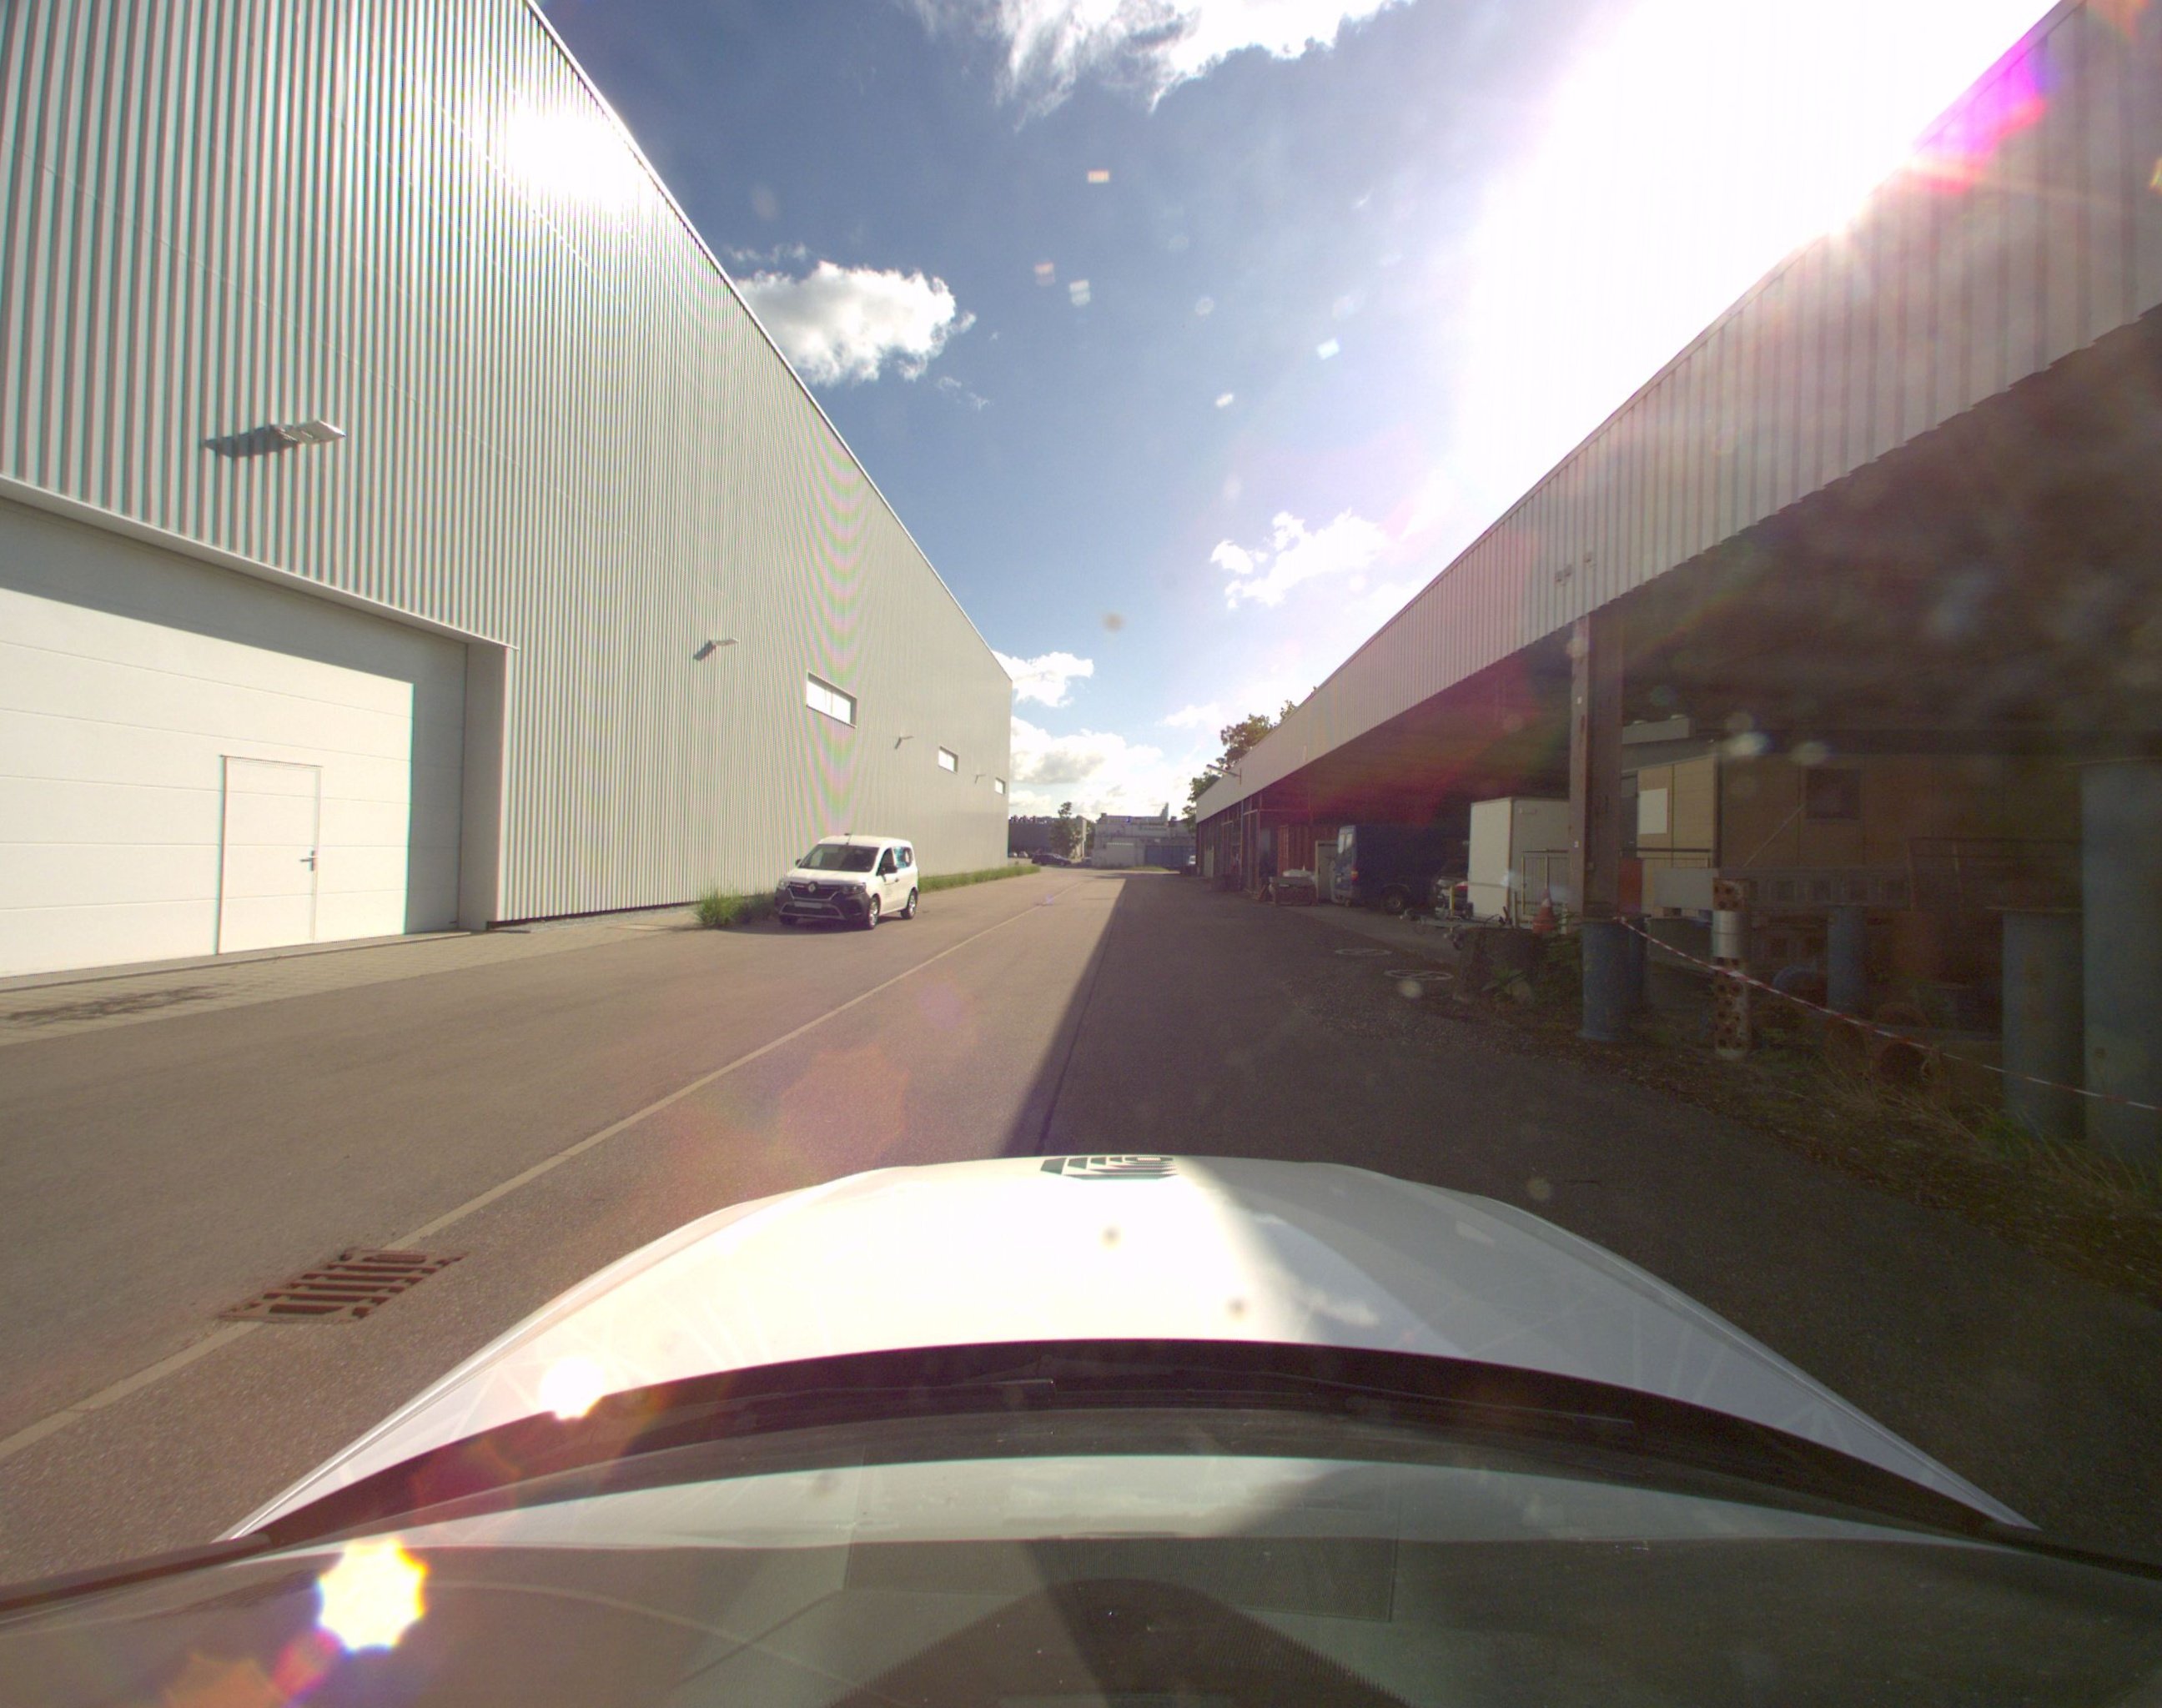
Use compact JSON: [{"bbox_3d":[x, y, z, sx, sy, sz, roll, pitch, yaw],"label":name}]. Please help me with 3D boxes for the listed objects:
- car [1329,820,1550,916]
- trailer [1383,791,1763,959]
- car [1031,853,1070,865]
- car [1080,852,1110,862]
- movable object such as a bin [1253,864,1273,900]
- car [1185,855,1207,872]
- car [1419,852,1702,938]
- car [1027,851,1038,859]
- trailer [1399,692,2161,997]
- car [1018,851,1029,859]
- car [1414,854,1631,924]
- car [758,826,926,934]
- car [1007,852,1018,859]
[{"bbox_3d":[9.276,0.339,21.422,4.957,2.325,2.002,1,0,3],"label":"car"},{"bbox_3d":[7.426,0.279,12.760,4.785,2.391,1.831,0,0,8],"label":"trailer"},{"bbox_3d":[-3.668,0.602,99.185,4.504,1.508,1.911,0,0,5],"label":"car"},{"bbox_3d":[2.242,0.469,126.547,4.505,1.508,1.911,1,0,4],"label":"car"},{"bbox_3d":[6.086,0.920,27.271,0.578,1.164,1.241,0,0,8],"label":"movable object such as a bin"},{"bbox_3d":[12.064,0.964,85.607,1.985,1.585,4.176,1,1,3],"label":"car"},{"bbox_3d":[8.871,0.728,15.334,4.313,1.496,1.777,0,0,1],"label":"car"},{"bbox_3d":[-11.564,0.204,195.213,2.184,1.736,4.003,0,-1,3],"label":"car"},{"bbox_3d":[9.508,-0.112,10.109,9.995,3.216,2.856,0,0,3],"label":"trailer"},{"bbox_3d":[-13.997,0.270,197.049,2.184,1.736,4.003,0,-1,3],"label":"car"},{"bbox_3d":[9.881,0.748,18.419,3.975,1.472,1.787,1,0,-1],"label":"car"},{"bbox_3d":[-4.724,0.470,16.881,1.882,1.845,4.362,3,0,3],"label":"car"},{"bbox_3d":[-16.590,0.319,196.835,1.985,1.736,4.003,0,-1,3],"label":"car"}]
